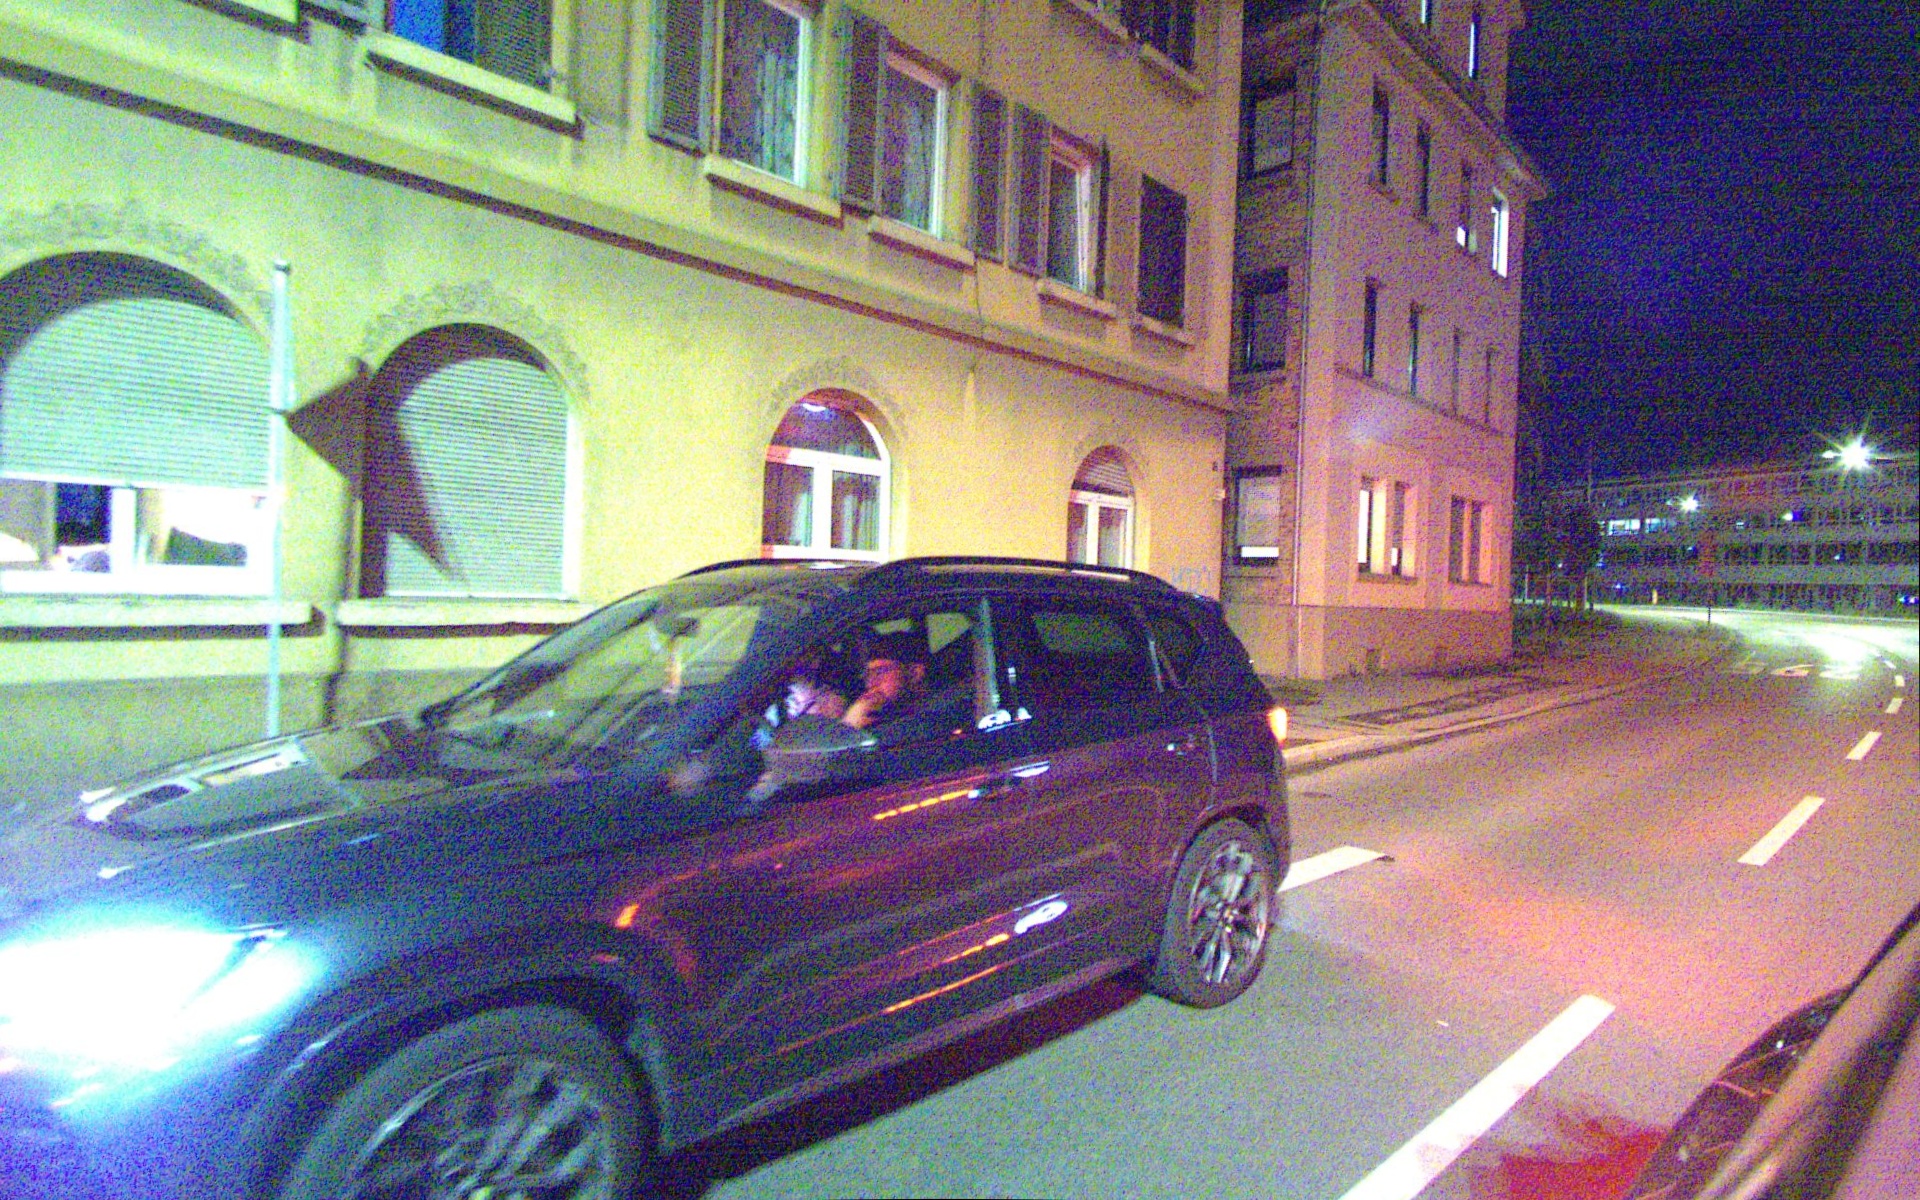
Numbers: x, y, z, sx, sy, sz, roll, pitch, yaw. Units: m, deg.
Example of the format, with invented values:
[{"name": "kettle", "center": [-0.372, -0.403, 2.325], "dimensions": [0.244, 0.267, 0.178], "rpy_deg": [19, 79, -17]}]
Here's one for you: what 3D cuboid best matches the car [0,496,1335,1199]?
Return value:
[{"name": "car", "center": [-0.533, 0.620, 3.334], "dimensions": [4.159, 1.630, 1.672], "rpy_deg": [-1, 2, -43]}]
